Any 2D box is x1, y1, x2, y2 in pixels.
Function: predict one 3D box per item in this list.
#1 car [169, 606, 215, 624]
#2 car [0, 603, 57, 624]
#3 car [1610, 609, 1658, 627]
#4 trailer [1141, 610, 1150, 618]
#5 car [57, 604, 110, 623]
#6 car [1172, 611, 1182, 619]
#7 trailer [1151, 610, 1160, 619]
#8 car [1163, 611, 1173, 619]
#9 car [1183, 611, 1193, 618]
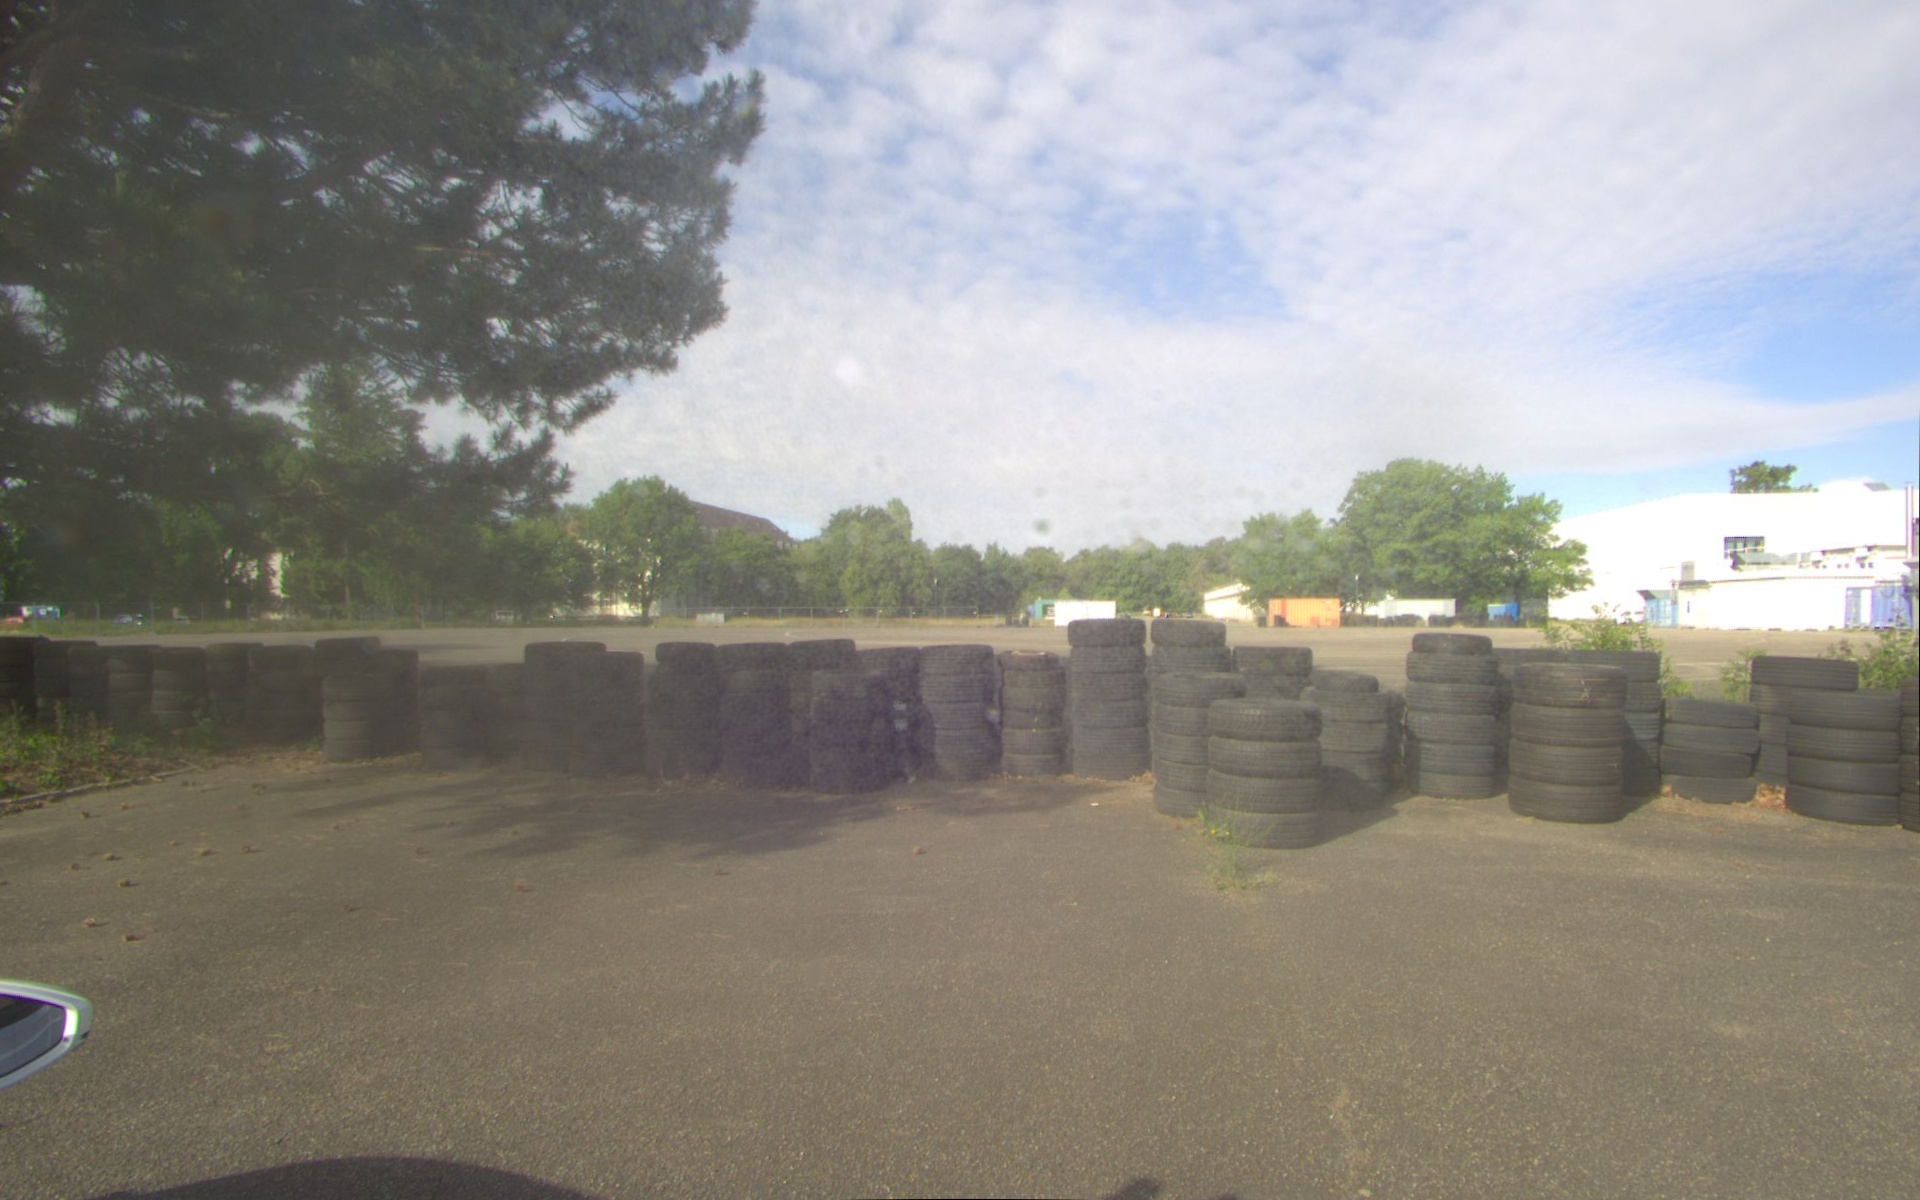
[{"bbox_3d":[-78.852,1.513,102.842,3.931,1.773,1.995,0,0,21],"label":"car"},{"bbox_3d":[-81.794,1.187,87.897,3.928,1.773,1.997,0,0,17],"label":"car"},{"bbox_3d":[61.806,1.660,91.850,1.839,1.585,4.546,0,0,8],"label":"car"},{"bbox_3d":[45.578,3.477,245.915,1.962,2.040,3.999,0,0,9],"label":"trailer"},{"bbox_3d":[-81.035,1.242,92.563,3.929,1.773,1.997,0,0,18],"label":"car"},{"bbox_3d":[52.454,3.586,241.809,1.999,1.832,3.999,0,0,8],"label":"car"},{"bbox_3d":[47.733,3.506,244.158,2.025,2.040,3.999,0,0,9],"label":"trailer"},{"bbox_3d":[50.224,3.618,242.030,1.961,1.773,3.999,0,0,8],"label":"car"},{"bbox_3d":[54.913,3.484,241.357,1.961,1.773,3.999,0,0,8],"label":"car"}]
